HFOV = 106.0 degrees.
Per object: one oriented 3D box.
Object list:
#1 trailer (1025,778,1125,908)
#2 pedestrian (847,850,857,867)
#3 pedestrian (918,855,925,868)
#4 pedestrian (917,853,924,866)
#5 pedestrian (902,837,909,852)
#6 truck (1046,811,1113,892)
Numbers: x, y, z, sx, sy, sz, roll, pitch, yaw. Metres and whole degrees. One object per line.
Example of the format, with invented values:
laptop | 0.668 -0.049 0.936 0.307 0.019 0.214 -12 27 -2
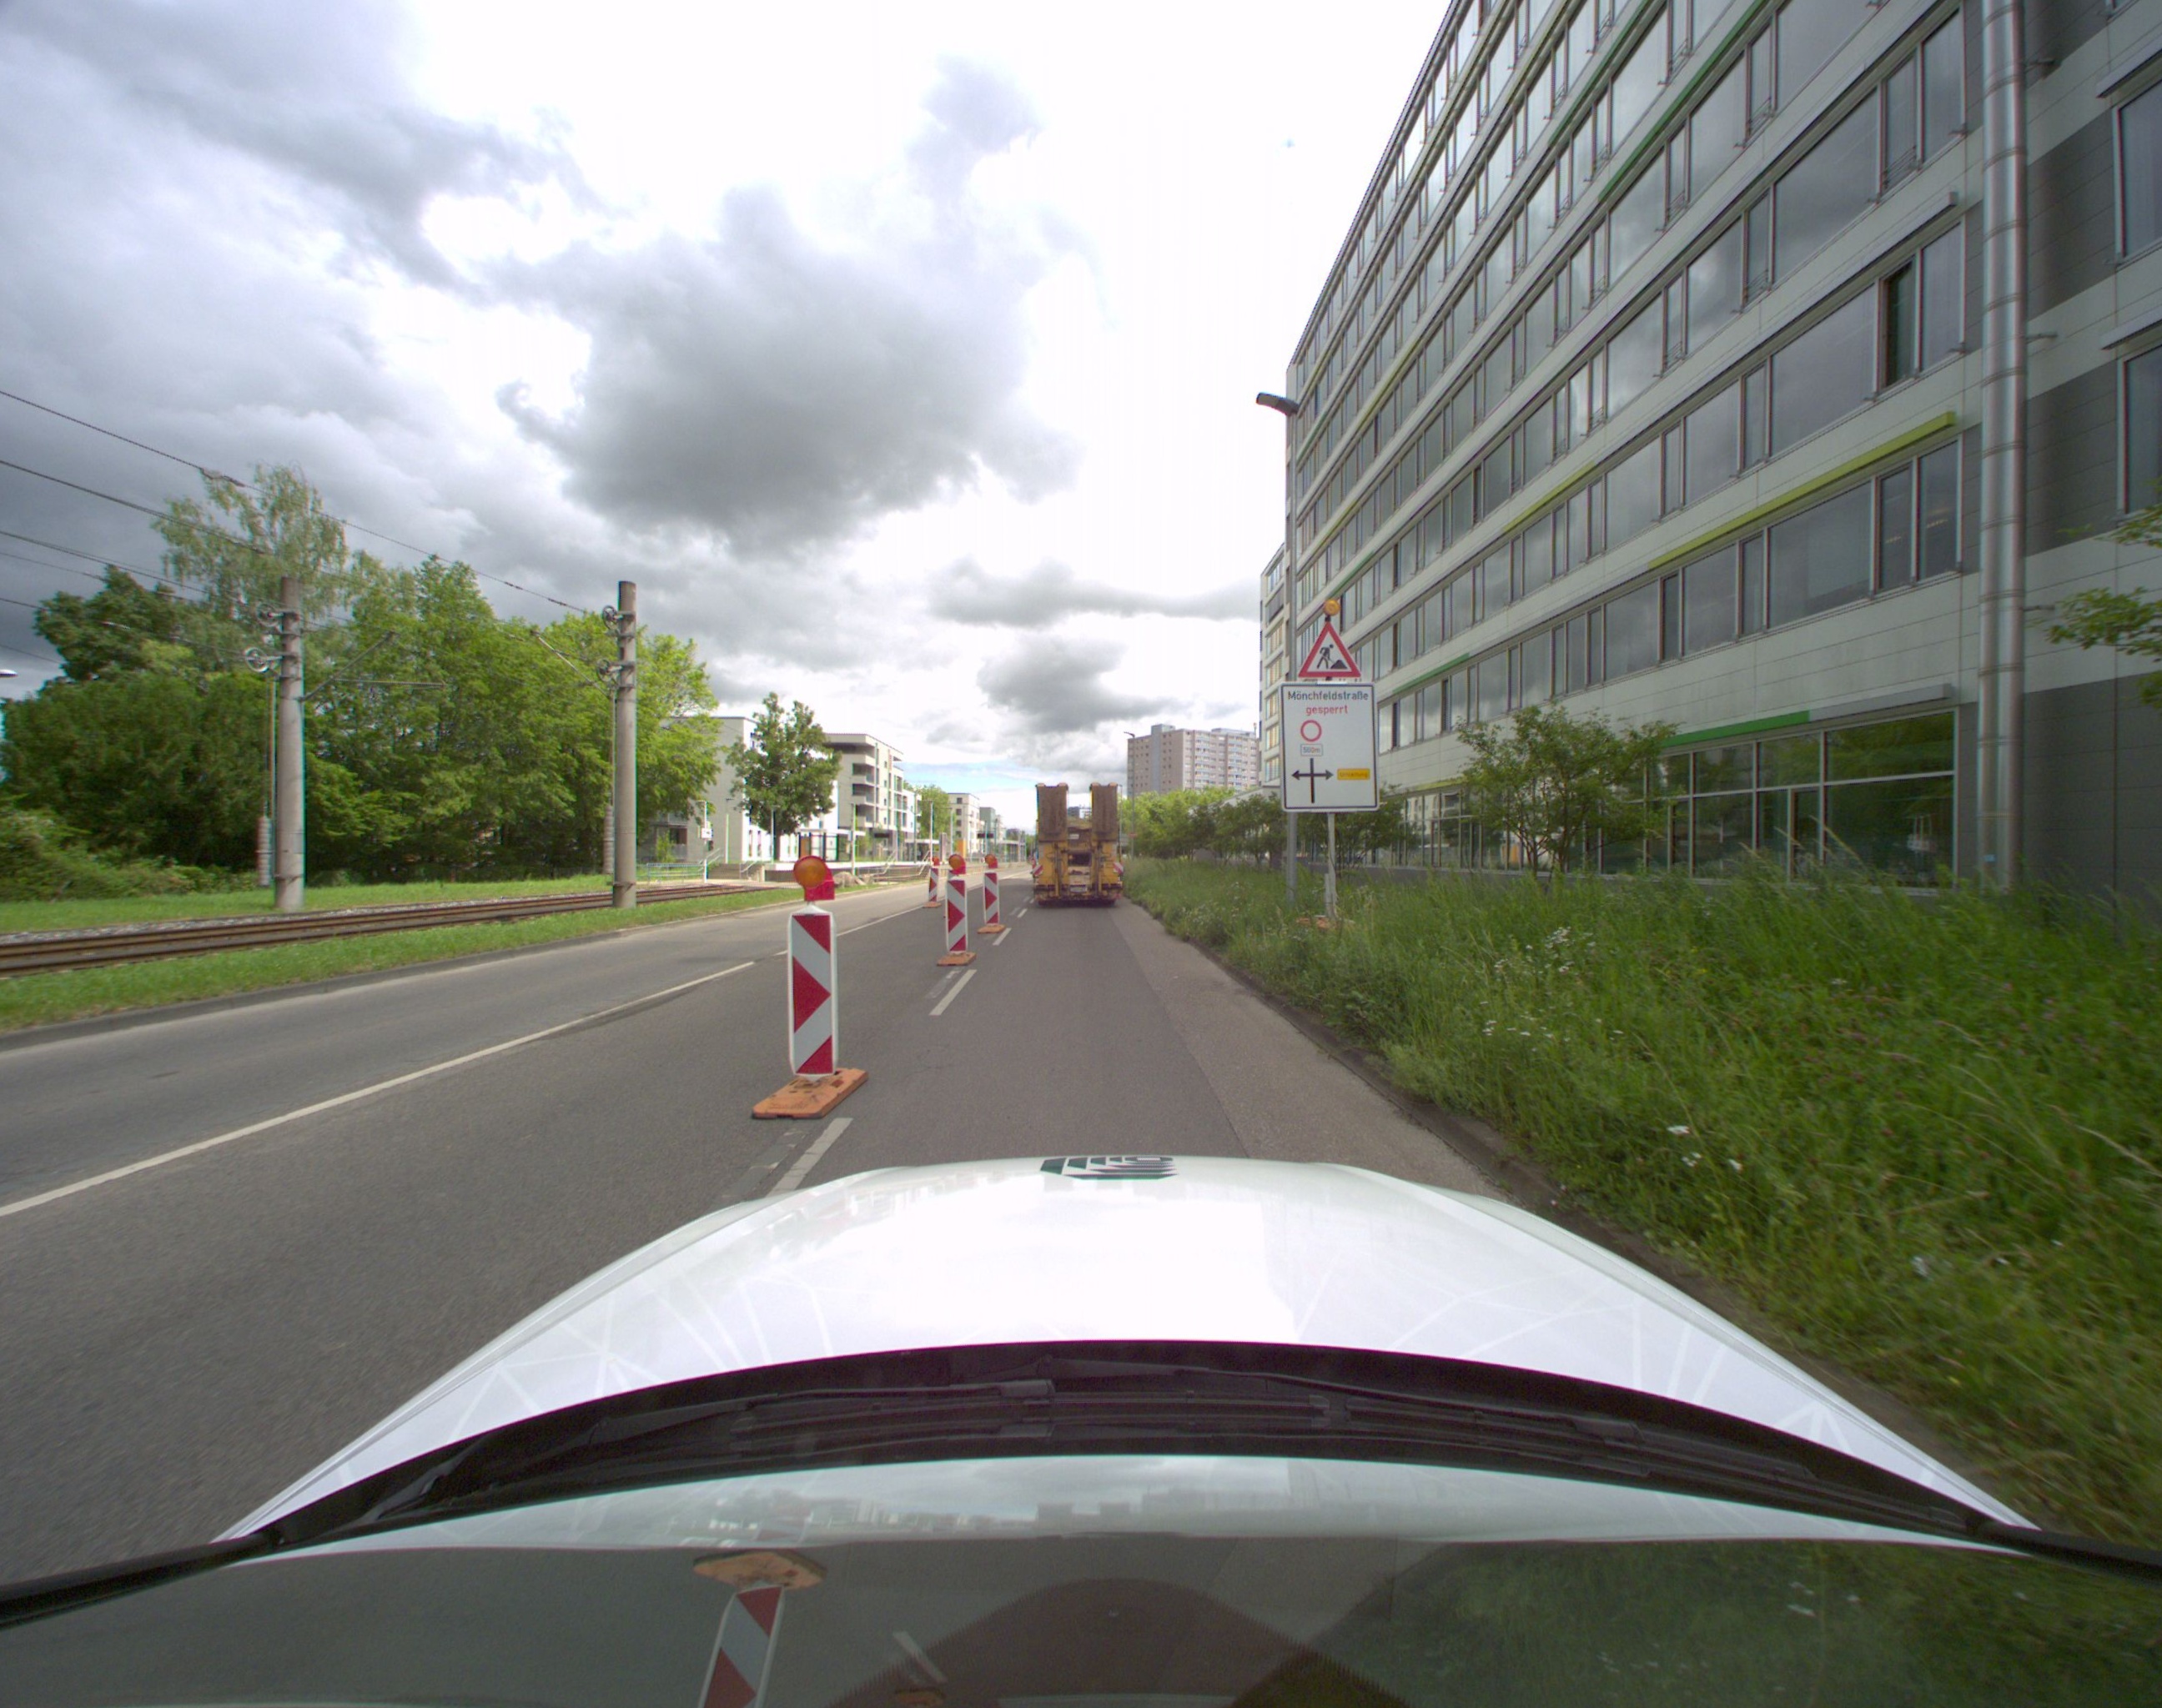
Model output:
trailer | -0.104 -0.264 28.019 2.720 3.559 11.253 1 -1 0
pedestrian | -20.571 0.398 73.083 0.738 1.531 0.547 0 -1 3
pedestrian | -19.626 0.934 100.122 0.482 1.597 0.682 0 -1 35
pedestrian | -19.557 0.704 99.296 0.483 1.597 0.682 0 -1 43
pedestrian | -21.170 -1.121 98.341 0.491 1.725 0.670 3 -2 -40
truck | -0.048 -0.061 37.819 2.744 3.313 8.350 1 -1 0
